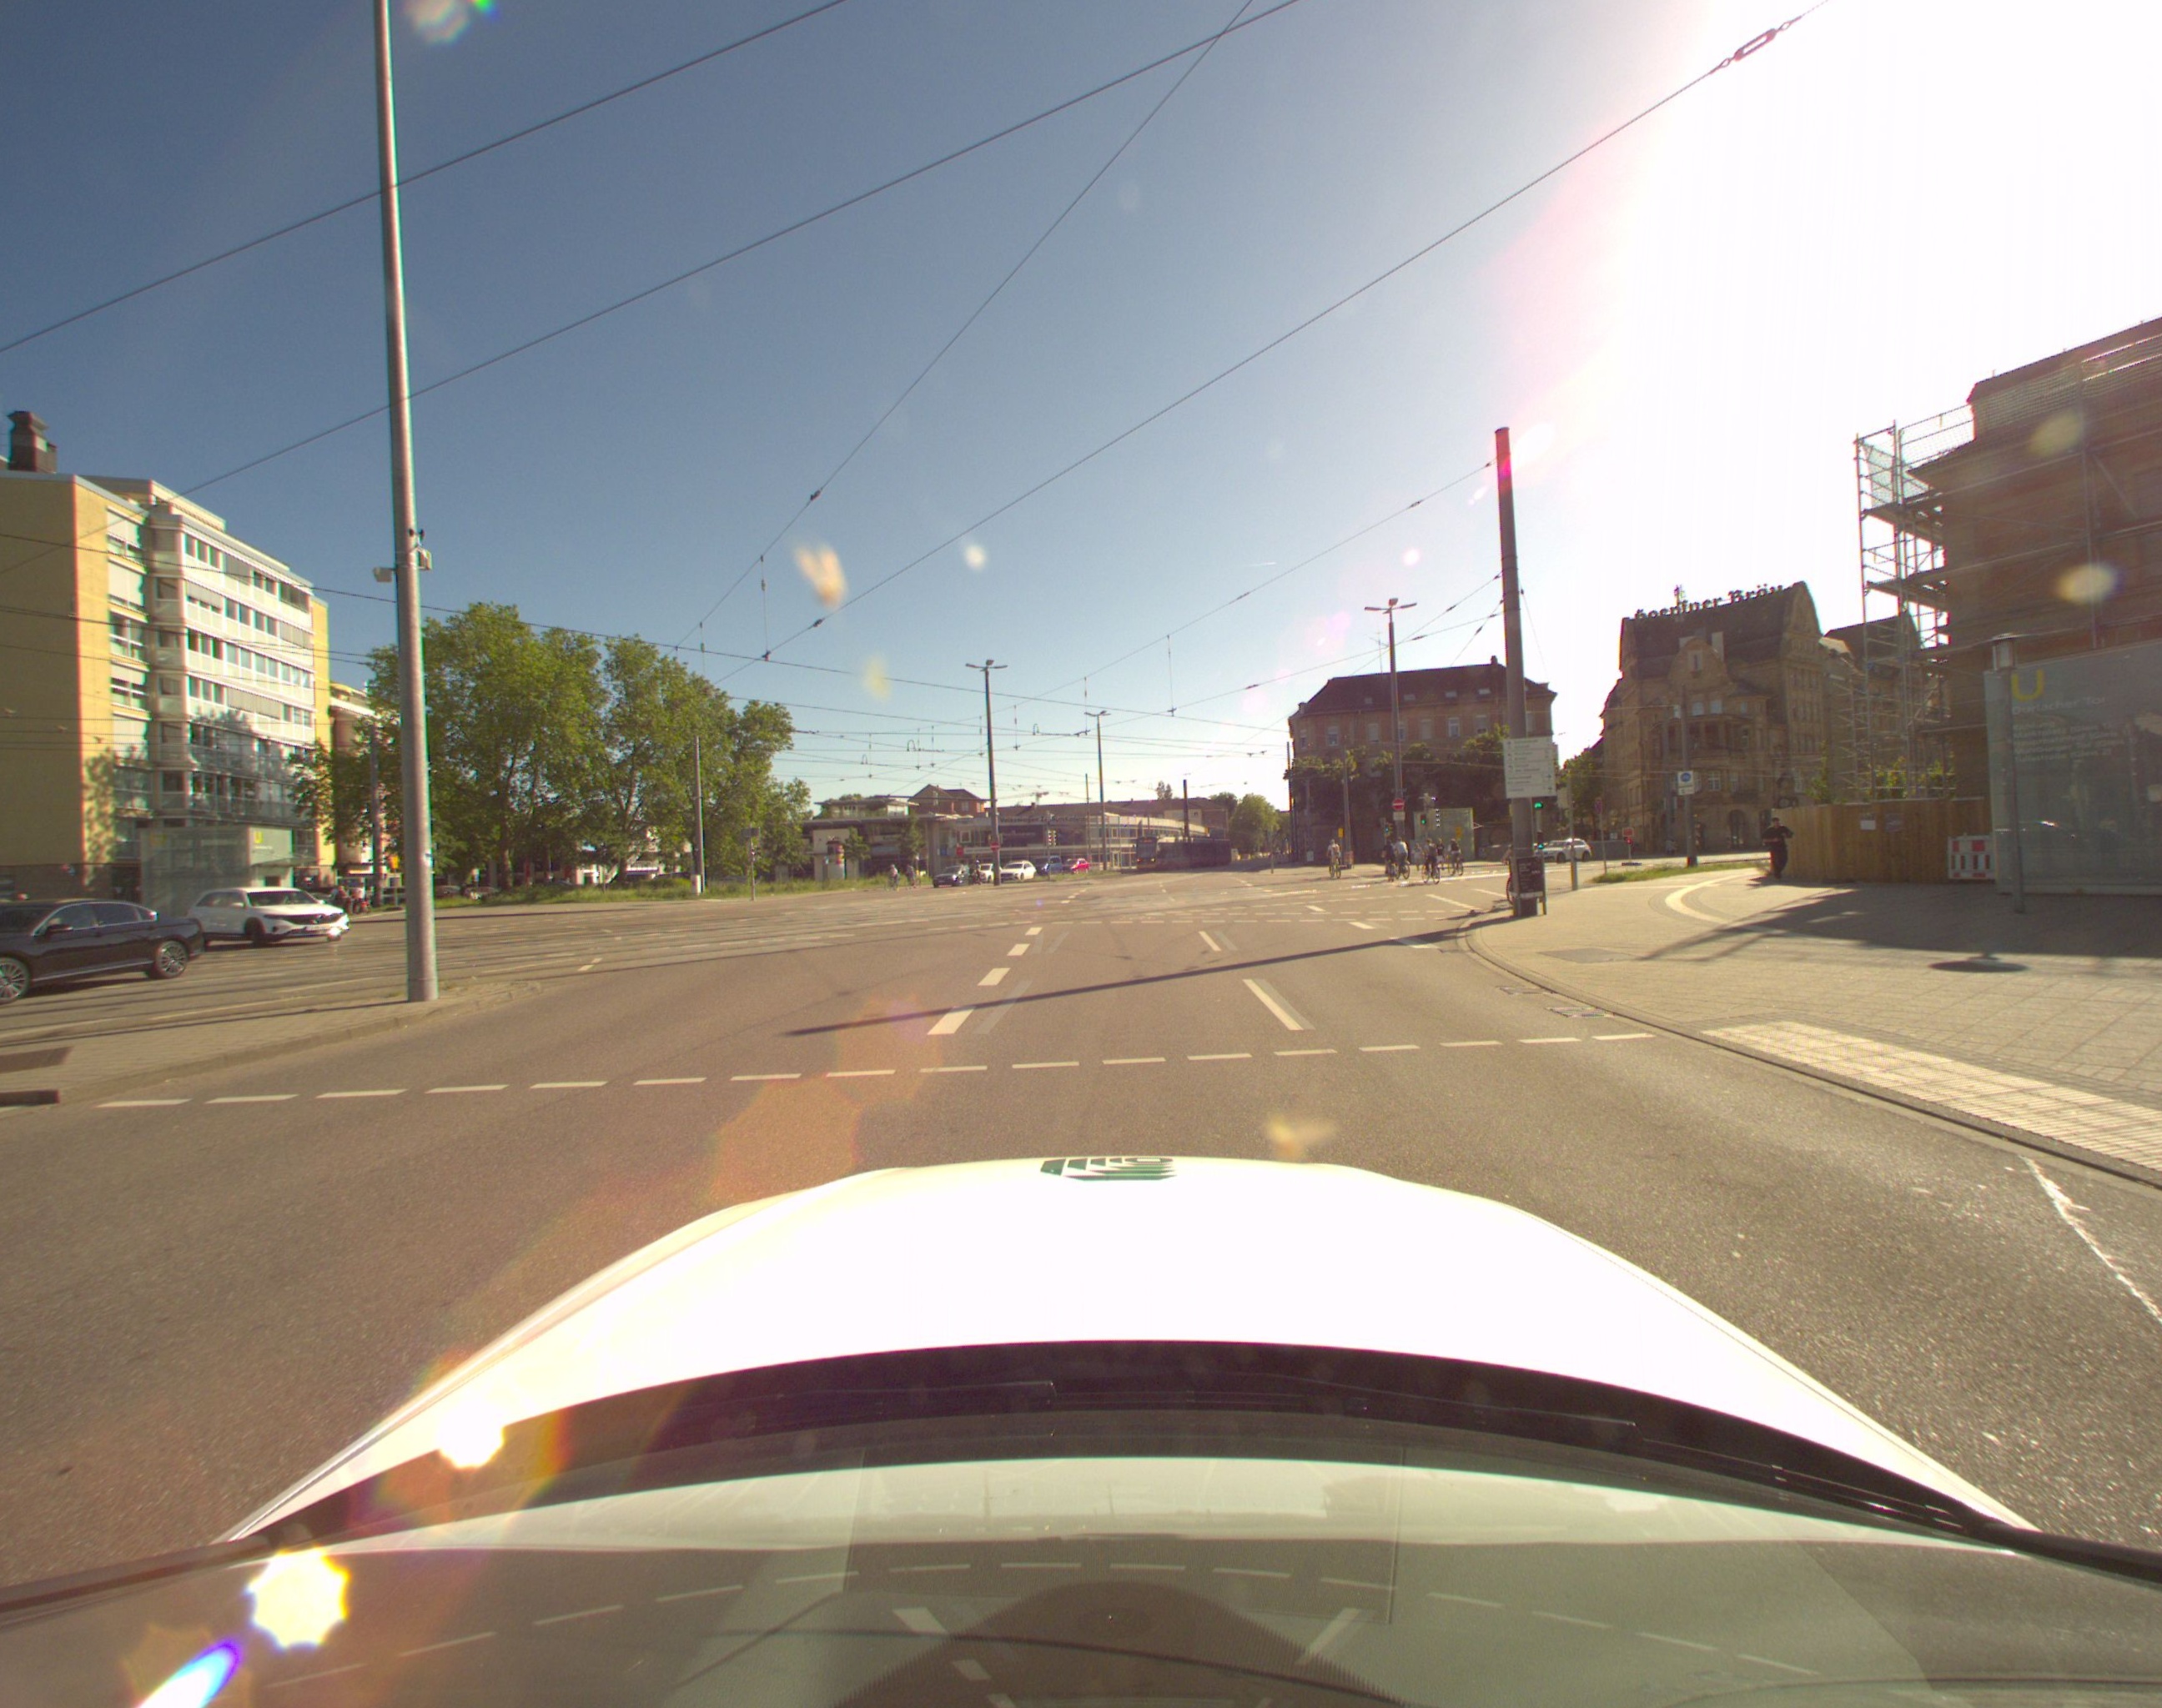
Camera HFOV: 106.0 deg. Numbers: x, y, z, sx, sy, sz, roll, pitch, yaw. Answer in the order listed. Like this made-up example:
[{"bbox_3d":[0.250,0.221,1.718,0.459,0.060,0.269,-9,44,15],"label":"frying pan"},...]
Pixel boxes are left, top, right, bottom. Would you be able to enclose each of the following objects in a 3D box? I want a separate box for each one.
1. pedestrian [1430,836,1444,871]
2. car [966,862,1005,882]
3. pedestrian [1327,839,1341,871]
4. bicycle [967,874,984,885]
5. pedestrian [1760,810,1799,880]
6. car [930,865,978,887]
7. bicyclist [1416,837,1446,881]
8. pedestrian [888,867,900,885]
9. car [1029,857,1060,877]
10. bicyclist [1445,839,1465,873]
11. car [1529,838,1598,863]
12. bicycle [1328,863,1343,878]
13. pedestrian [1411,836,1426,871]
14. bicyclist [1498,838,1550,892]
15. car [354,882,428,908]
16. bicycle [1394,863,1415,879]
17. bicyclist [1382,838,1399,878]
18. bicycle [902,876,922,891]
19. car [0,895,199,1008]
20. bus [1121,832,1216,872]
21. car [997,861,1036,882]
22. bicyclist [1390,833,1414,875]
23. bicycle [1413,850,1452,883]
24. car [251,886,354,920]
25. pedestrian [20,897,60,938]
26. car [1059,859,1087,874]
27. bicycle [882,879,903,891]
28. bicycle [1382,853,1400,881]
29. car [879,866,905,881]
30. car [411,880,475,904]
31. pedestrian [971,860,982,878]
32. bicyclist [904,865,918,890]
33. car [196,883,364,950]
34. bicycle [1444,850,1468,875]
[{"bbox_3d":[20.773,-0.053,47.493,0.461,2.013,0.449,-2,0,-16],"label":"pedestrian"},{"bbox_3d":[-7.261,1.369,62.294,1.613,1.424,3.702,-2,-1,16],"label":"car"},{"bbox_3d":[12.483,0.042,40.142,0.543,1.562,0.863,-2,-1,22],"label":"pedestrian"},{"bbox_3d":[-7.231,1.732,55.764,0.419,0.718,1.642,-2,-1,19],"label":"bicycle"},{"bbox_3d":[19.222,-0.242,22.428,0.692,1.881,0.725,-3,-1,37],"label":"pedestrian"},{"bbox_3d":[-8.772,1.494,56.367,1.689,1.354,3.719,-2,-1,19],"label":"car"},{"bbox_3d":[13.230,0.176,30.788,0.682,1.598,0.978,-2,-1,3],"label":"bicyclist"},{"bbox_3d":[-12.486,1.470,54.405,0.418,1.204,0.685,-3,-1,32],"label":"pedestrian"},{"bbox_3d":[-3.297,1.177,74.353,1.613,1.692,3.702,-2,-1,16],"label":"car"},{"bbox_3d":[17.338,0.091,37.733,0.568,1.568,0.949,-2,-1,10],"label":"bicyclist"},{"bbox_3d":[32.894,-0.251,55.532,4.330,1.563,1.786,-2,-1,-24],"label":"car"},{"bbox_3d":[12.533,0.789,40.130,0.532,0.655,1.735,-3,0,22],"label":"bicycle"},{"bbox_3d":[20.095,-0.018,48.456,0.574,2.013,0.449,-2,0,-16],"label":"pedestrian"},{"bbox_3d":[11.021,0.271,20.281,0.717,1.279,0.907,-4,-1,1],"label":"bicyclist"},{"bbox_3d":[-50.224,2.954,59.323,3.742,1.662,1.585,-2,-1,-18],"label":"car"},{"bbox_3d":[14.302,0.739,36.057,0.534,0.655,1.471,-3,0,9],"label":"bicycle"},{"bbox_3d":[12.847,0.191,33.800,0.620,1.638,0.999,0,-2,18],"label":"bicyclist"},{"bbox_3d":[-11.580,2.002,55.876,0.463,0.926,1.484,-3,-1,27],"label":"bicycle"},{"bbox_3d":[-15.996,1.435,12.304,1.726,1.438,4.152,-2,-1,-17],"label":"car"},{"bbox_3d":[9.990,-0.058,87.320,3.804,3.608,24.993,-1,-1,21],"label":"bus"},{"bbox_3d":[-4.753,1.268,60.357,1.613,1.382,3.754,-2,-1,16],"label":"car"},{"bbox_3d":[14.235,0.004,36.139,0.743,1.779,0.926,-3,-1,9],"label":"bicyclist"},{"bbox_3d":[13.250,0.470,30.753,0.682,1.163,1.885,-2,0,3],"label":"bicycle"},{"bbox_3d":[-43.219,2.688,45.297,3.742,1.662,1.585,-2,-1,-18],"label":"car"},{"bbox_3d":[-41.645,2.515,32.576,0.769,1.560,0.610,-2,-1,-26],"label":"pedestrian"},{"bbox_3d":[-0.757,1.274,81.427,1.613,1.364,3.703,-2,-1,18],"label":"car"},{"bbox_3d":[-12.549,2.093,54.253,0.418,0.718,1.484,-3,-1,32],"label":"bicycle"},{"bbox_3d":[12.866,0.562,33.844,0.620,1.114,1.859,0,-2,18],"label":"bicycle"},{"bbox_3d":[-22.213,2.270,95.683,1.959,1.706,4.084,-2,-1,2],"label":"car"},{"bbox_3d":[-51.788,3.067,66.166,3.742,1.662,1.585,-2,-1,-18],"label":"car"},{"bbox_3d":[-7.197,1.037,55.950,0.419,1.204,0.753,-2,-1,19],"label":"pedestrian"},{"bbox_3d":[-11.649,1.610,55.795,0.563,1.714,0.653,-3,-1,27],"label":"bicyclist"},{"bbox_3d":[-22.271,1.720,22.629,4.255,1.654,1.869,-3,-1,24],"label":"car"},{"bbox_3d":[17.354,0.393,37.696,0.568,1.125,1.745,-2,-1,10],"label":"bicycle"}]
